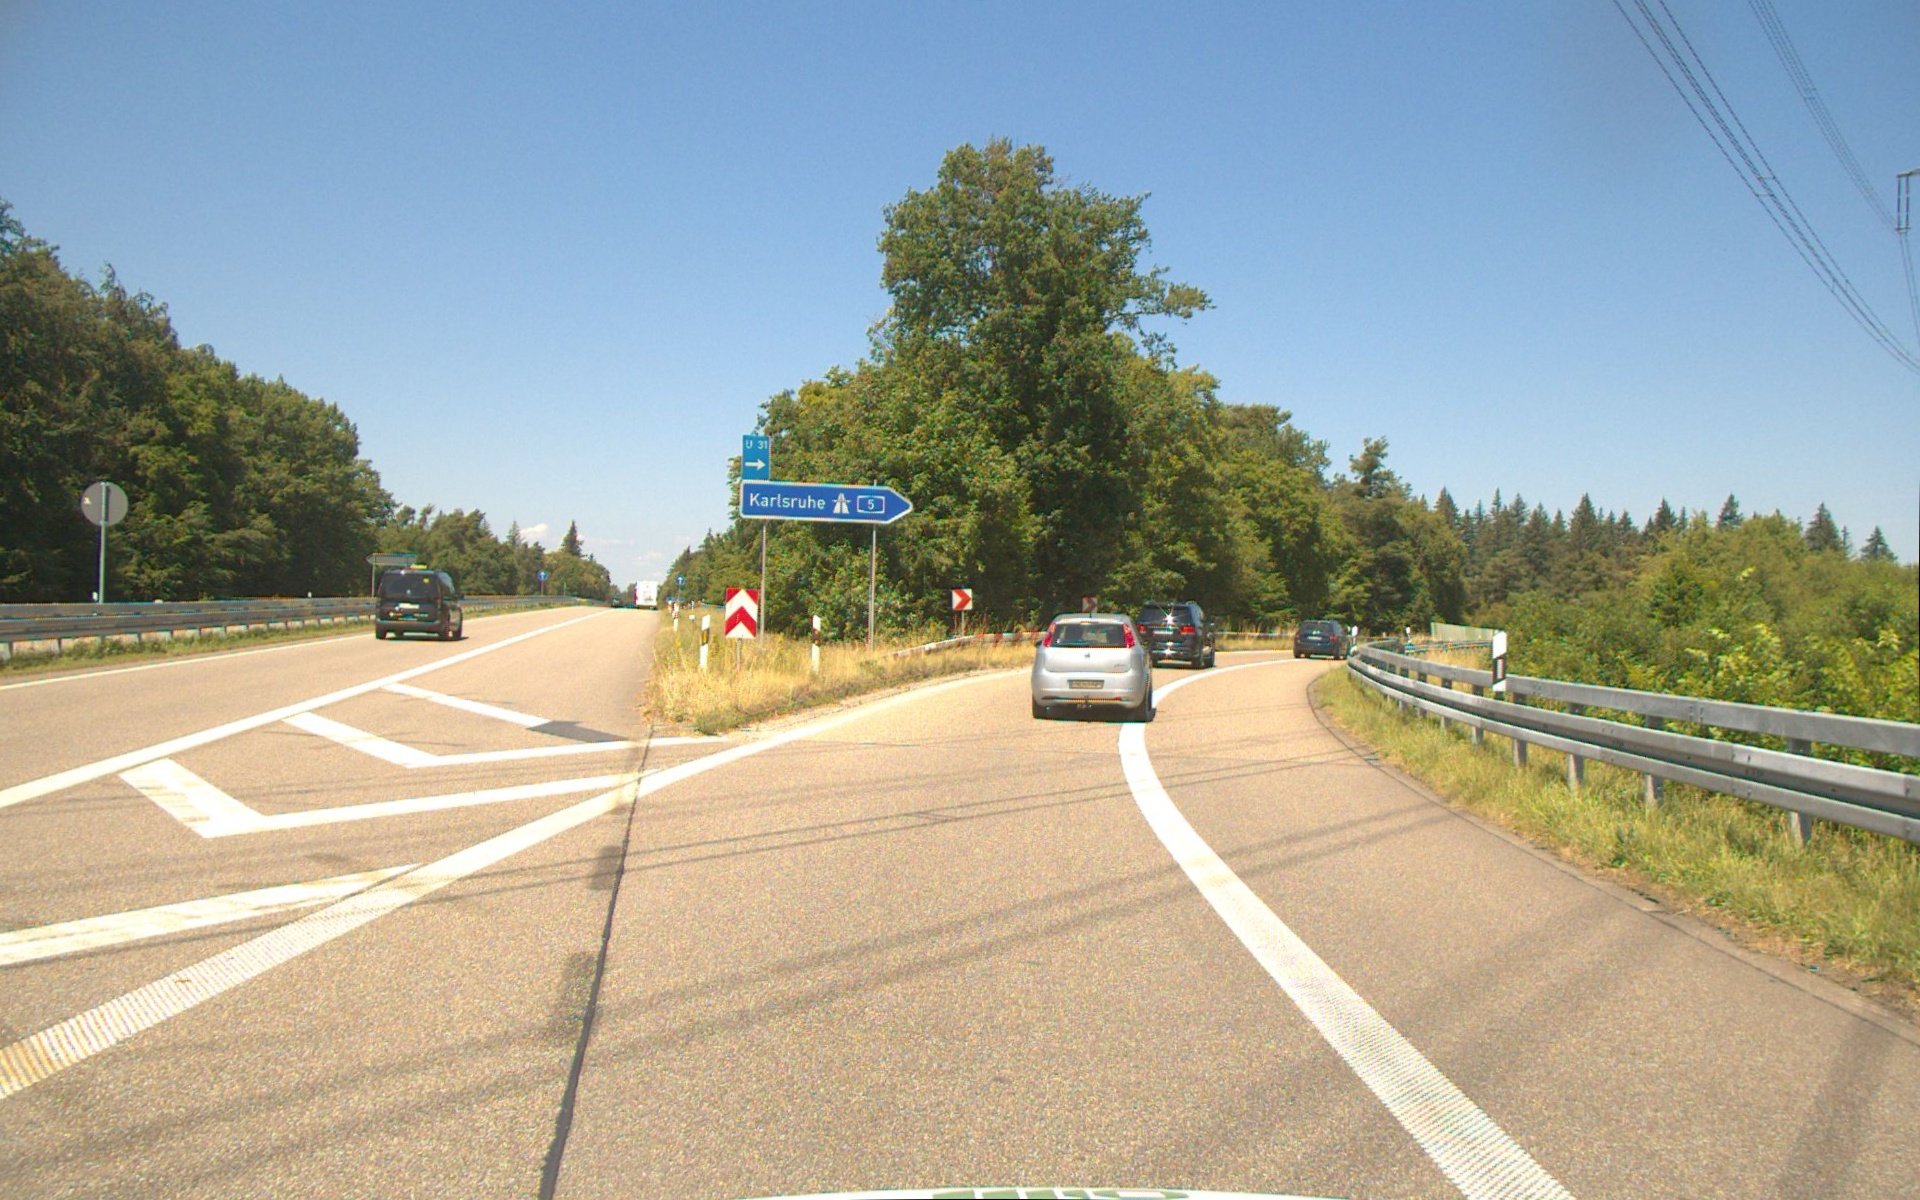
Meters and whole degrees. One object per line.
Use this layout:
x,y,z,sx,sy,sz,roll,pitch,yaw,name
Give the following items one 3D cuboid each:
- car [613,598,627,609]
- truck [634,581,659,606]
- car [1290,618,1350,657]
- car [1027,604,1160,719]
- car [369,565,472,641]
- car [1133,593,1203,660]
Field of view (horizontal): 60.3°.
-48.400,0.463,235.394,1.681,1.497,3.566,3,0,-10,car
-34.801,-0.700,183.861,2.571,2.688,7.648,1,0,-10,truck
13.731,1.431,63.009,1.607,1.366,3.573,3,0,22,car
2.033,0.855,24.347,1.605,1.493,3.422,3,0,9,car
-14.515,0.055,44.814,1.820,1.920,5.561,0,0,-9,car
5.694,0.717,45.009,1.605,1.682,3.577,3,0,11,car
